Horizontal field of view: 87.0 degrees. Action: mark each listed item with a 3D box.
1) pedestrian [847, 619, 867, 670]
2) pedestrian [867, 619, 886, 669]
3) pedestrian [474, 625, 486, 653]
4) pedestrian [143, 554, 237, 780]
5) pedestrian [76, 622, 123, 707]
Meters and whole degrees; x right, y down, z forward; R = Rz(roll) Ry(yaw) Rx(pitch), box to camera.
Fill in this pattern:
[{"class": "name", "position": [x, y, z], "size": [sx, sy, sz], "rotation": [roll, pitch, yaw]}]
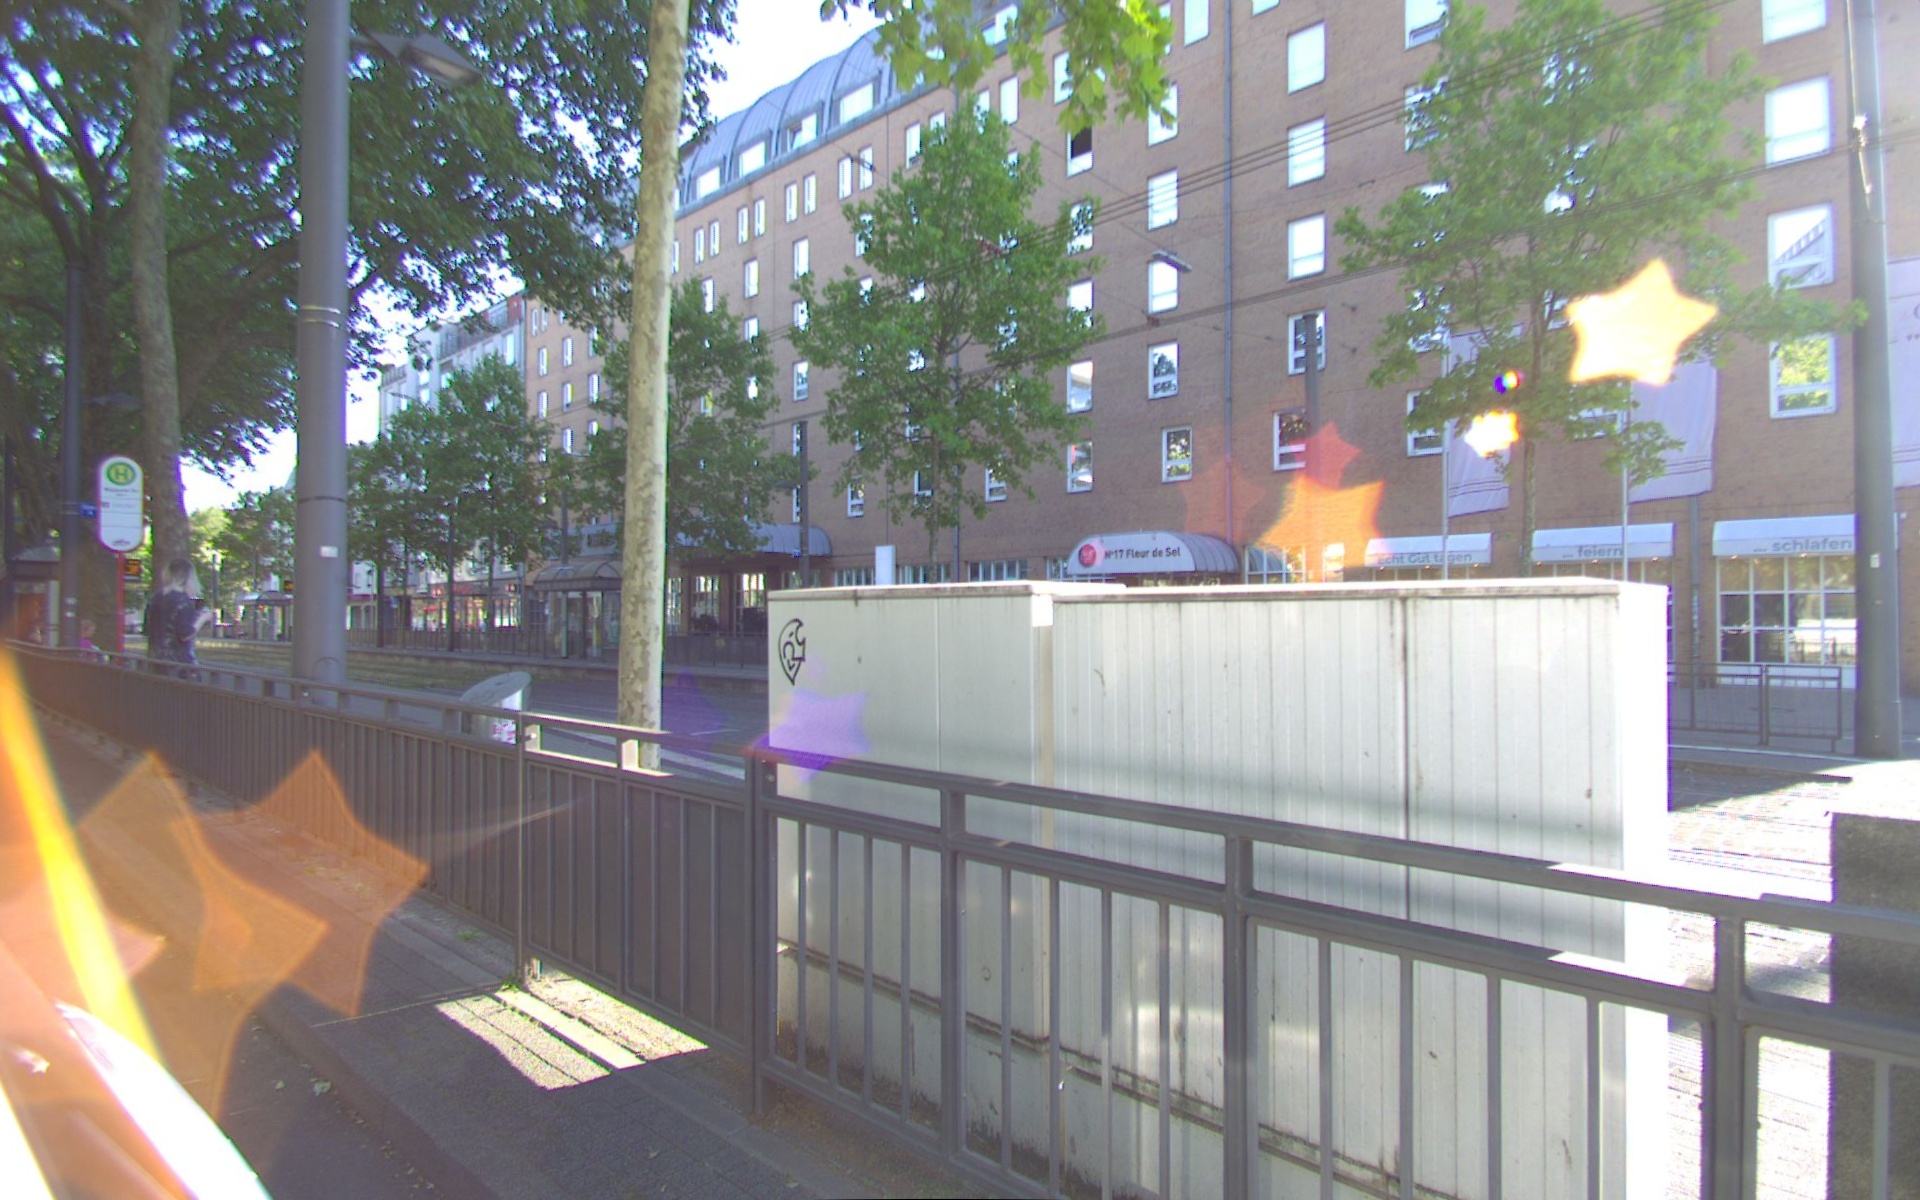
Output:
[{"class": "pedestrian", "position": [-3.592, 1.550, 35.284], "size": [0.472, 1.748, 0.545], "rotation": [1, -2, -42]}, {"class": "pedestrian", "position": [-2.950, 1.541, 35.803], "size": [0.437, 1.748, 0.545], "rotation": [1, -2, -42]}, {"class": "pedestrian", "position": [-30.690, 2.488, 64.768], "size": [0.574, 1.748, 0.497], "rotation": [-2, -2, 43]}, {"class": "pedestrian", "position": [-6.596, 0.548, 8.675], "size": [0.524, 1.848, 0.536], "rotation": [-1, 0, 42]}, {"class": "pedestrian", "position": [-13.923, 1.026, 16.385], "size": [0.534, 1.327, 0.525], "rotation": [-1, 0, -37]}]
